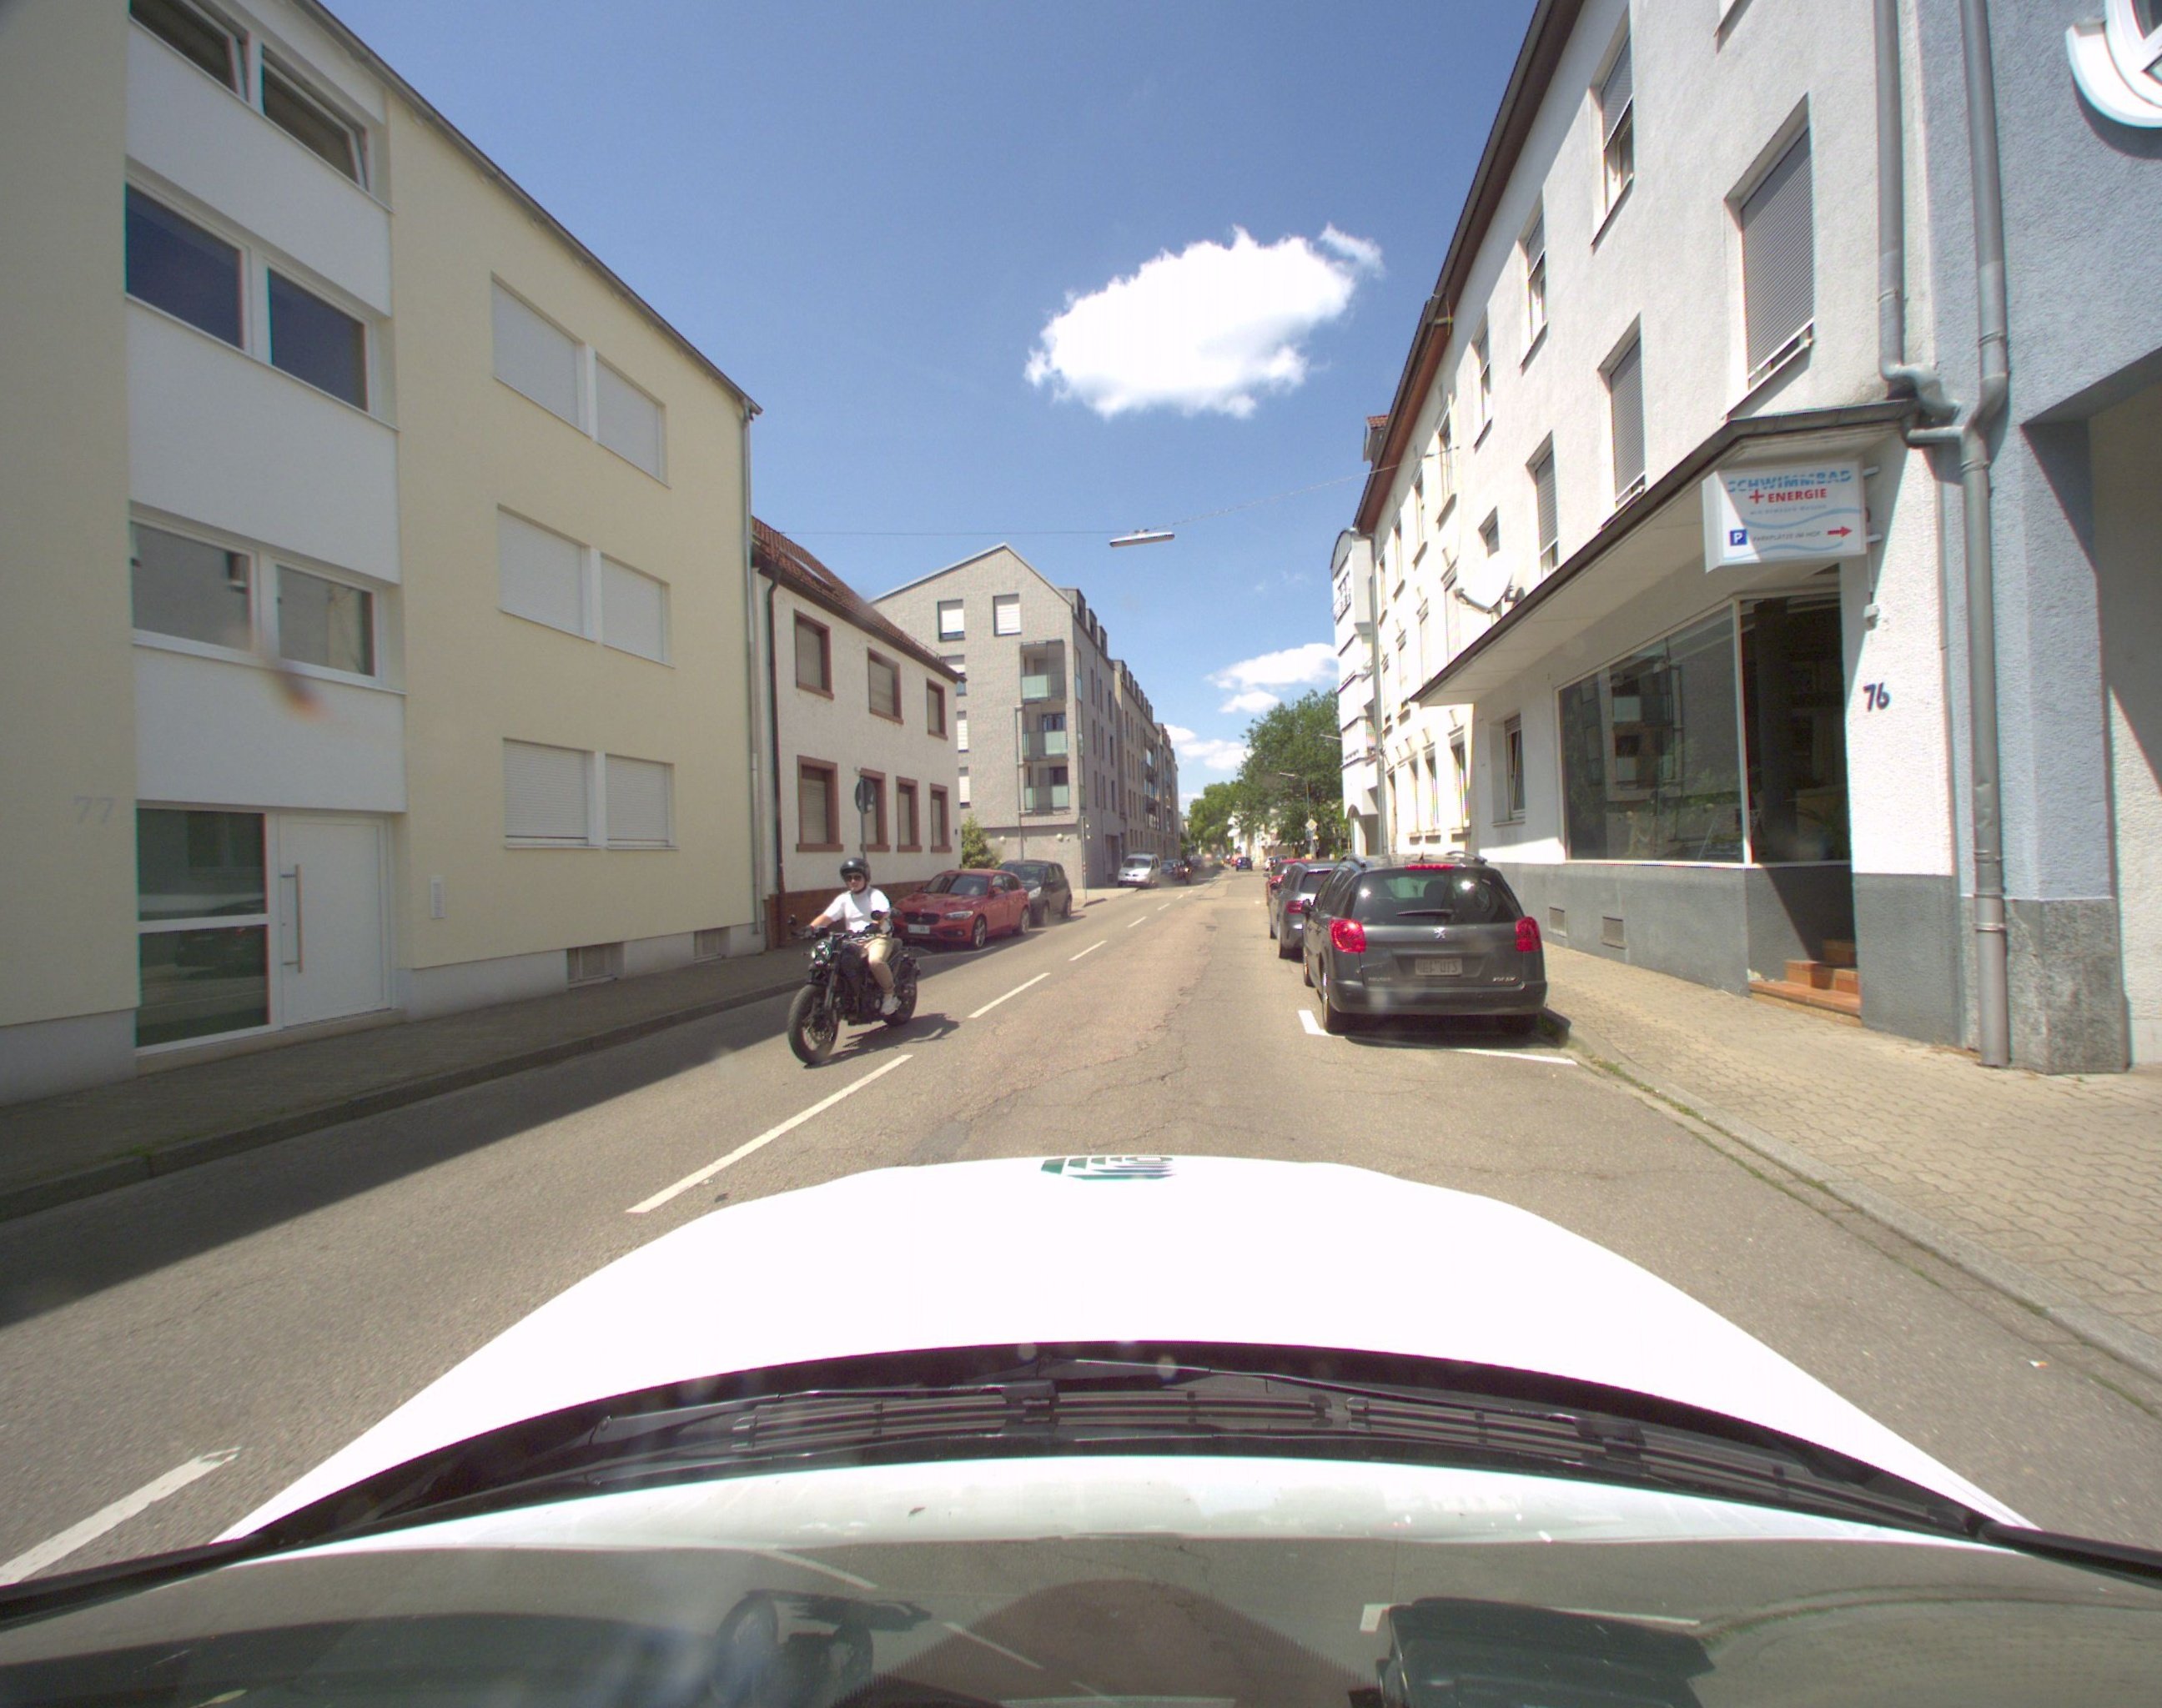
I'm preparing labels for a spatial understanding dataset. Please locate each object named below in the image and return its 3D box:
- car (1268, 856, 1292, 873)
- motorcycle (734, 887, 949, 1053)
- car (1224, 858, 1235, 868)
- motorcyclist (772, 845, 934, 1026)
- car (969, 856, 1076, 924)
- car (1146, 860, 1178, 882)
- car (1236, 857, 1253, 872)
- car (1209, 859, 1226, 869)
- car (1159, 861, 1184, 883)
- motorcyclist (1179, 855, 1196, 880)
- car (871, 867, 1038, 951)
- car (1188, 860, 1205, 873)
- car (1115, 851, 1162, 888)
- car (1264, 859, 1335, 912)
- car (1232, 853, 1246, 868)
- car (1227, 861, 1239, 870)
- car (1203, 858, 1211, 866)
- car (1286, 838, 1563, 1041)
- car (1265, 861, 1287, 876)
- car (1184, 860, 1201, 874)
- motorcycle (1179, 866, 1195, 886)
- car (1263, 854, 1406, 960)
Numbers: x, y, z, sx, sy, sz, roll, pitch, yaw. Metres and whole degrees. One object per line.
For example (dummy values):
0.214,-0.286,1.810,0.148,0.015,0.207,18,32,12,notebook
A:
17.715,0.932,72.551,1.682,1.420,4.011,-5,-1,10,car
-2.026,0.930,7.325,0.890,1.176,2.215,-2,-1,11,motorcycle
25.285,1.468,138.670,1.701,1.634,3.713,-2,-1,9,car
-2.002,0.682,7.331,0.910,1.480,1.207,-2,-1,11,motorcyclist
-1.434,0.886,21.590,1.782,1.646,3.958,-1,-1,12,car
5.609,1.169,56.255,1.711,1.456,4.018,-1,-1,12,car
16.969,1.045,84.490,1.704,1.402,4.013,-2,0,11,car
18.562,1.321,110.381,1.979,1.381,4.409,0,0,14,car
6.831,1.325,61.319,1.581,1.554,3.581,-2,-1,11,car
6.400,0.807,48.966,0.816,1.509,1.061,-2,-1,14,motorcyclist
-2.389,1.025,16.664,1.821,1.417,4.305,-2,-1,14,car
13.652,1.416,96.061,1.721,1.442,4.012,-2,-1,11,car
3.155,0.807,43.911,1.744,1.892,4.354,0,0,15,car
6.205,0.849,23.438,1.609,1.385,3.548,-2,-1,9,car
22.711,0.883,117.019,1.827,2.013,4.013,-2,0,12,car
28.727,2.202,154.294,1.983,1.618,4.008,-2,-1,7,car
34.720,2.208,225.008,2.144,2.014,4.009,-2,-1,8,car
3.082,0.676,8.167,1.699,1.508,4.012,-2,-1,11,car
18.789,1.376,78.695,1.768,1.420,4.011,-2,-1,10,car
12.476,1.432,90.934,1.721,1.442,4.012,-2,-1,11,car
6.369,1.294,48.841,0.683,1.122,2.035,-2,-1,14,motorcycle
3.976,0.753,13.445,1.718,1.420,4.558,-2,-1,11,car
